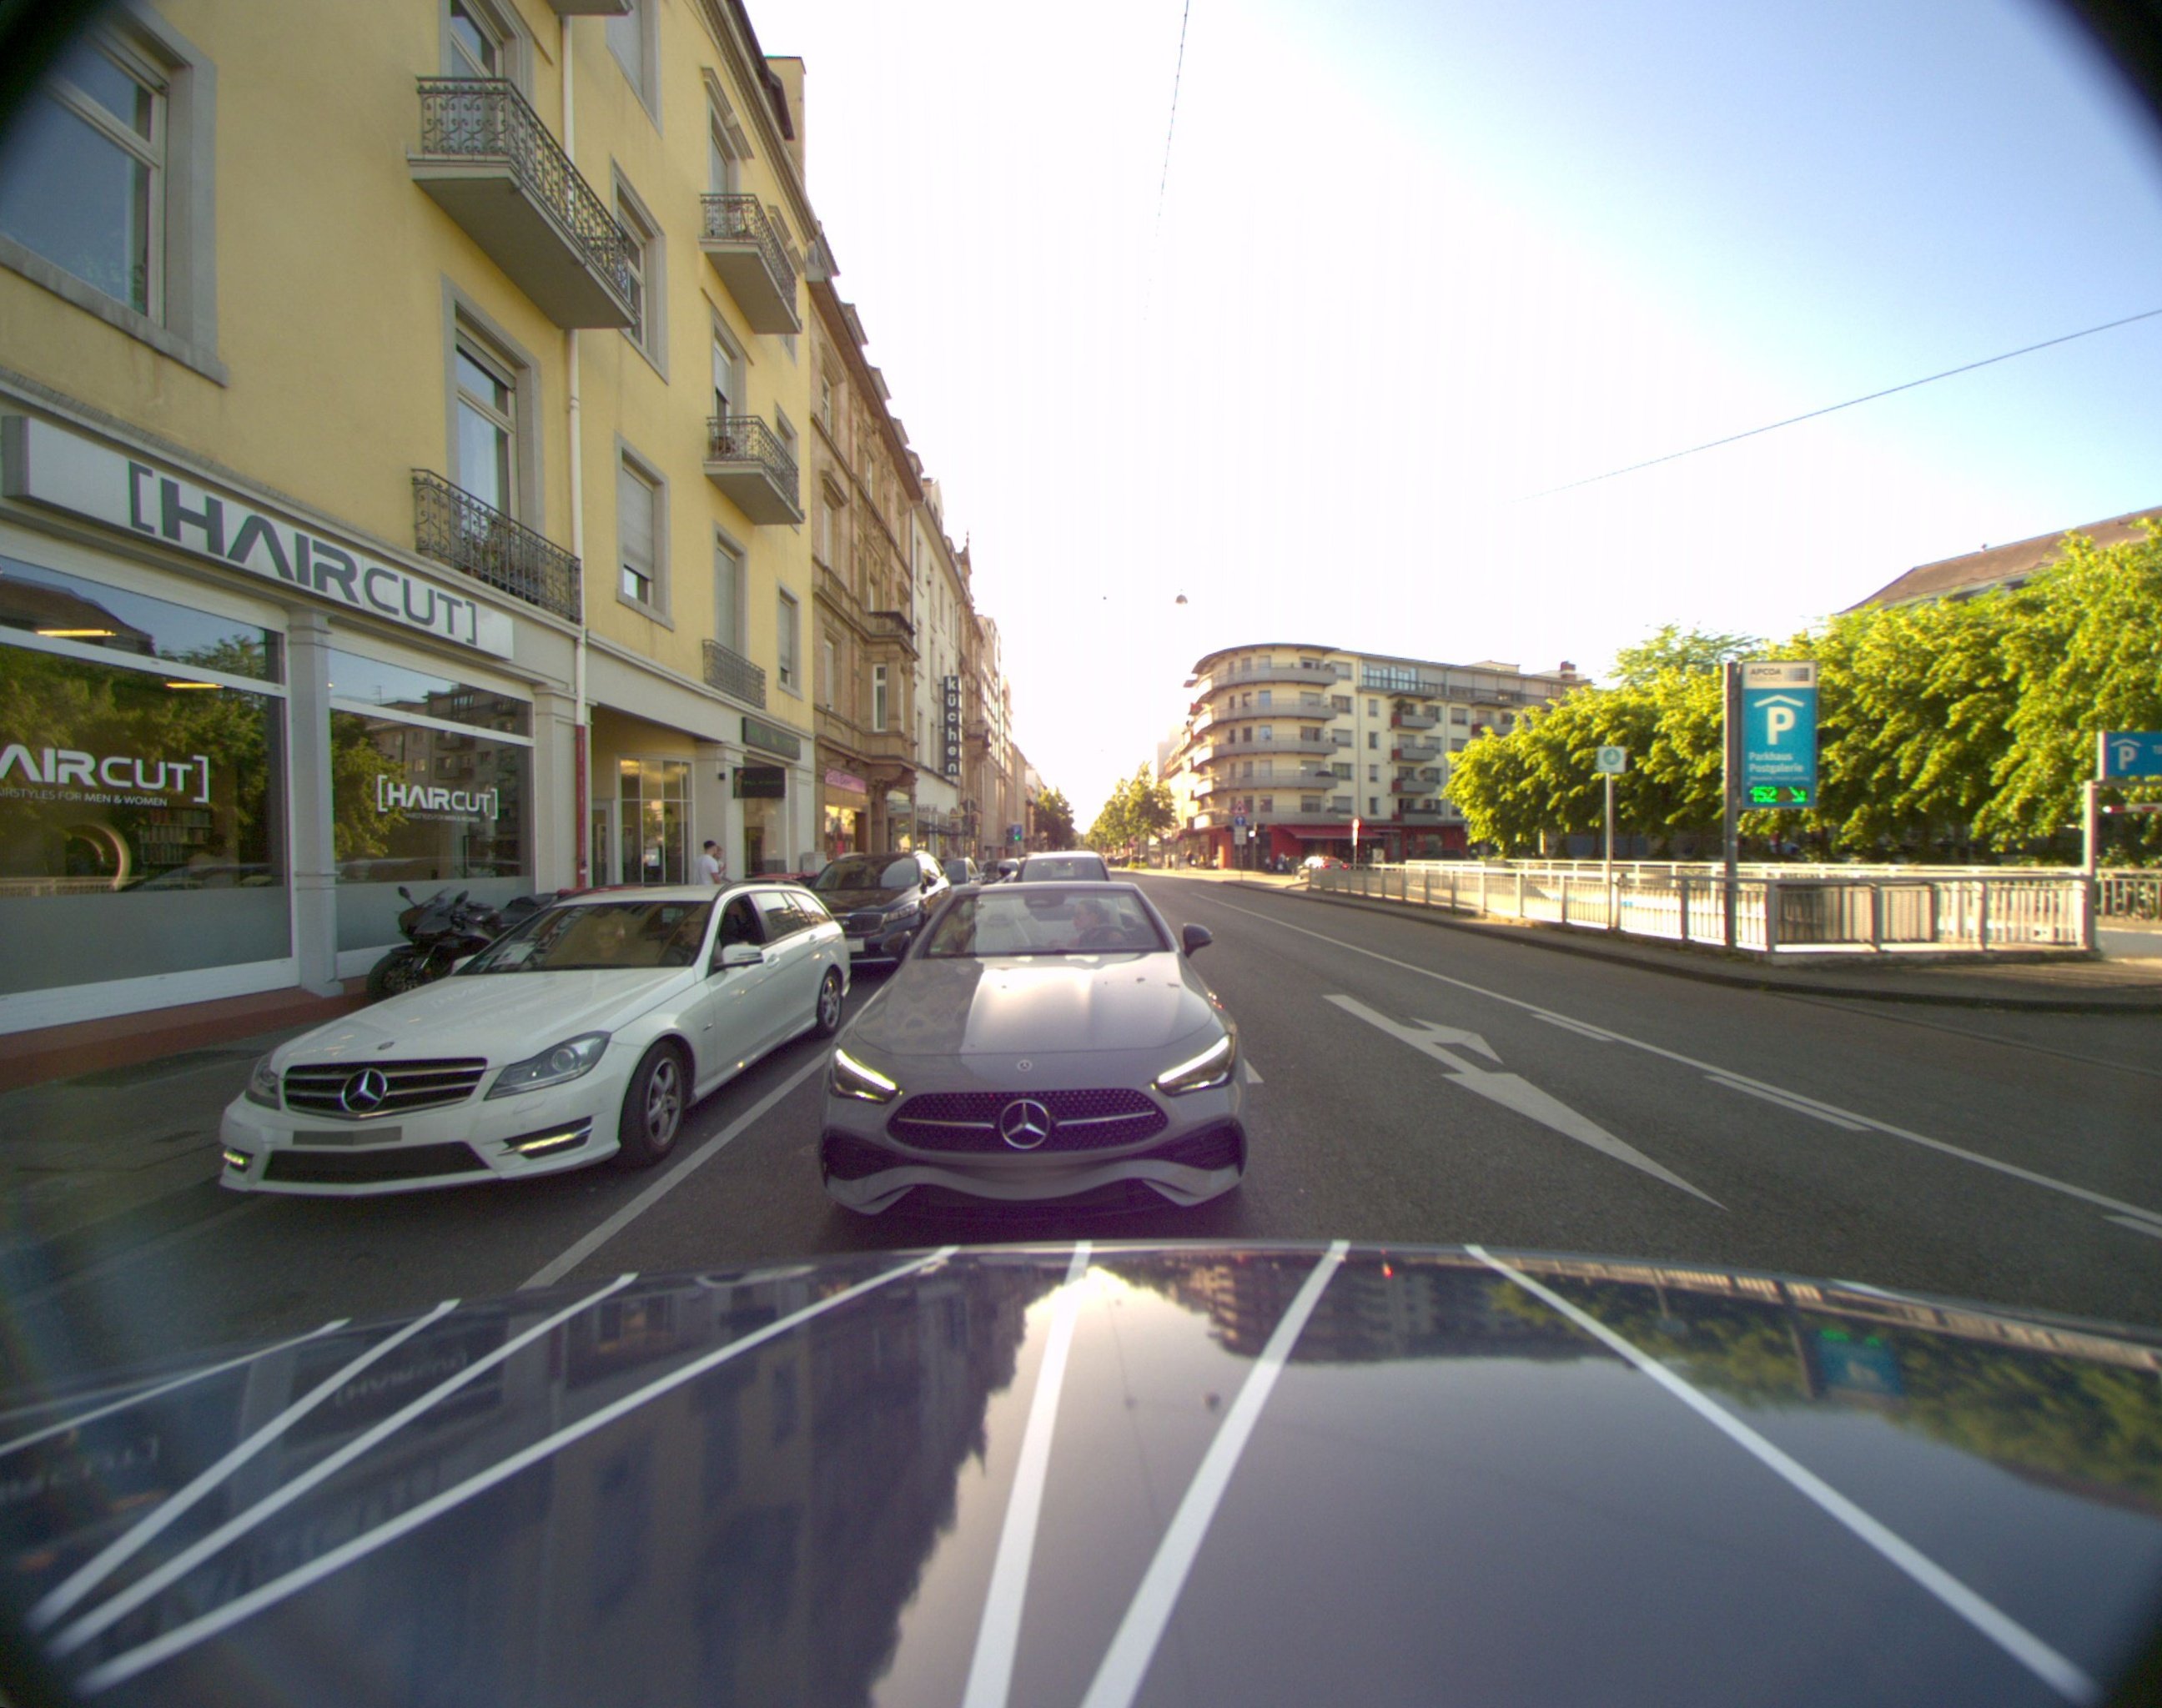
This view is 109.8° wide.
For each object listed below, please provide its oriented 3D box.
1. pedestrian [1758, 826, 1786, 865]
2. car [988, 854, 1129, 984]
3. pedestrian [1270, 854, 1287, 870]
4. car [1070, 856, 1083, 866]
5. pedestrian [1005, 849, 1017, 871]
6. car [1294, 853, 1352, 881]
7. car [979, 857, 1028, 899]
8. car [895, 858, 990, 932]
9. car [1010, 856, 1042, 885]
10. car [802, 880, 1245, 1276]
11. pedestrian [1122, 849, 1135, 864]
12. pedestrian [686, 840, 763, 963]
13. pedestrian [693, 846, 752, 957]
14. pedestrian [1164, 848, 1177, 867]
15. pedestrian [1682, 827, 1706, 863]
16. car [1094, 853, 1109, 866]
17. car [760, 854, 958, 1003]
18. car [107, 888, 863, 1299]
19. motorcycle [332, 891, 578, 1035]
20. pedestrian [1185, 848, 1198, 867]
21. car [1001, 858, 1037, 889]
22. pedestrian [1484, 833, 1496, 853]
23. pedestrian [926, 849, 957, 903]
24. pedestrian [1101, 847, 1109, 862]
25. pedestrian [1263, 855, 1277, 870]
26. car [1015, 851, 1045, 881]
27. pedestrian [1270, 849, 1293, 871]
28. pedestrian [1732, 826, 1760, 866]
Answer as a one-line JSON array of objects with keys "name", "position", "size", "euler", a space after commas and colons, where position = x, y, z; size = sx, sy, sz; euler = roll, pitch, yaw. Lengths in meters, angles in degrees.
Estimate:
[{"name": "pedestrian", "position": [33.277, -0.423, 36.599], "size": [0.748, 1.832, 0.683], "euler": [-2, 1, -13]}, {"name": "car", "position": [-0.367, 0.892, 12.763], "size": [1.866, 1.658, 4.706], "euler": [-2, 1, -2]}, {"name": "pedestrian", "position": [15.430, 0.649, 59.385], "size": [0.937, 1.191, 0.832], "euler": [-3, 1, -24]}, {"name": "car", "position": [-0.719, 1.022, 114.945], "size": [1.695, 1.437, 3.575], "euler": [-2, 1, -2]}, {"name": "pedestrian", "position": [-5.530, 0.469, 60.245], "size": [0.826, 1.750, 0.823], "euler": [-2, 1, -1]}, {"name": "car", "position": [14.435, 0.753, 45.516], "size": [1.676, 1.521, 4.247], "euler": [2, 0, -6]}, {"name": "car", "position": [-3.027, 0.899, 30.318], "size": [1.695, 1.482, 3.796], "euler": [-2, 1, -3]}, {"name": "car", "position": [-3.183, 0.903, 17.995], "size": [1.583, 1.514, 2.998], "euler": [-2, 1, 1]}, {"name": "car", "position": [-2.942, 0.862, 40.955], "size": [1.461, 1.391, 3.363], "euler": [-2, 1, -1]}, {"name": "car", "position": [-0.284, 0.995, 5.363], "size": [1.769, 1.360, 4.471], "euler": [-2, 1, -2]}, {"name": "pedestrian", "position": [5.947, 0.268, 95.042], "size": [1.200, 1.826, 1.224], "euler": [-2, 1, 26]}, {"name": "pedestrian", "position": [-5.694, 0.727, 12.142], "size": [0.975, 1.866, 0.534], "euler": [-3, 1, -31]}, {"name": "pedestrian", "position": [-6.150, 0.792, 13.066], "size": [0.630, 1.826, 0.770], "euler": [-2, 1, -7]}, {"name": "pedestrian", "position": [8.461, 0.337, 71.726], "size": [1.068, 1.709, 1.081], "euler": [-2, 1, 12]}, {"name": "pedestrian", "position": [31.868, -0.442, 39.514], "size": [0.748, 1.832, 0.683], "euler": [-3, 1, -21]}, {"name": "car", "position": [2.863, 0.770, 108.453], "size": [1.836, 1.831, 3.886], "euler": [1, 1, -2]}, {"name": "car", "position": [-3.015, 0.888, 11.344], "size": [1.806, 1.680, 4.408], "euler": [-2, 1, -3]}, {"name": "car", "position": [-3.028, 1.070, 5.252], "size": [1.672, 1.364, 4.377], "euler": [-2, 1, 1]}, {"name": "motorcycle", "position": [-6.257, 1.021, 7.795], "size": [0.735, 1.124, 2.109], "euler": [2, 1, 1]}, {"name": "pedestrian", "position": [9.958, 0.306, 68.567], "size": [1.060, 1.739, 0.962], "euler": [-2, 1, 1]}, {"name": "car", "position": [-2.955, 0.897, 36.687], "size": [1.461, 1.310, 3.363], "euler": [-2, 1, -1]}, {"name": "pedestrian", "position": [38.366, -1.005, 71.254], "size": [0.747, 1.832, 0.684], "euler": [-2, 1, 1]}, {"name": "pedestrian", "position": [-4.556, 0.709, 24.882], "size": [0.819, 1.709, 0.837], "euler": [-2, 1, -4]}, {"name": "pedestrian", "position": [3.935, 0.049, 124.495], "size": [1.117, 2.328, 1.028], "euler": [-2, 1, 0]}, {"name": "pedestrian", "position": [14.923, 0.661, 60.043], "size": [0.780, 1.191, 0.884], "euler": [-2, 1, -10]}, {"name": "car", "position": [-3.152, 0.712, 47.553], "size": [1.695, 1.670, 3.880], "euler": [-2, 1, -3]}, {"name": "pedestrian", "position": [15.328, 0.469, 57.976], "size": [1.269, 1.656, 1.142], "euler": [-1, 1, 42]}, {"name": "pedestrian", "position": [32.111, -0.389, 36.706], "size": [0.748, 1.852, 0.683], "euler": [-2, 1, -13]}]
